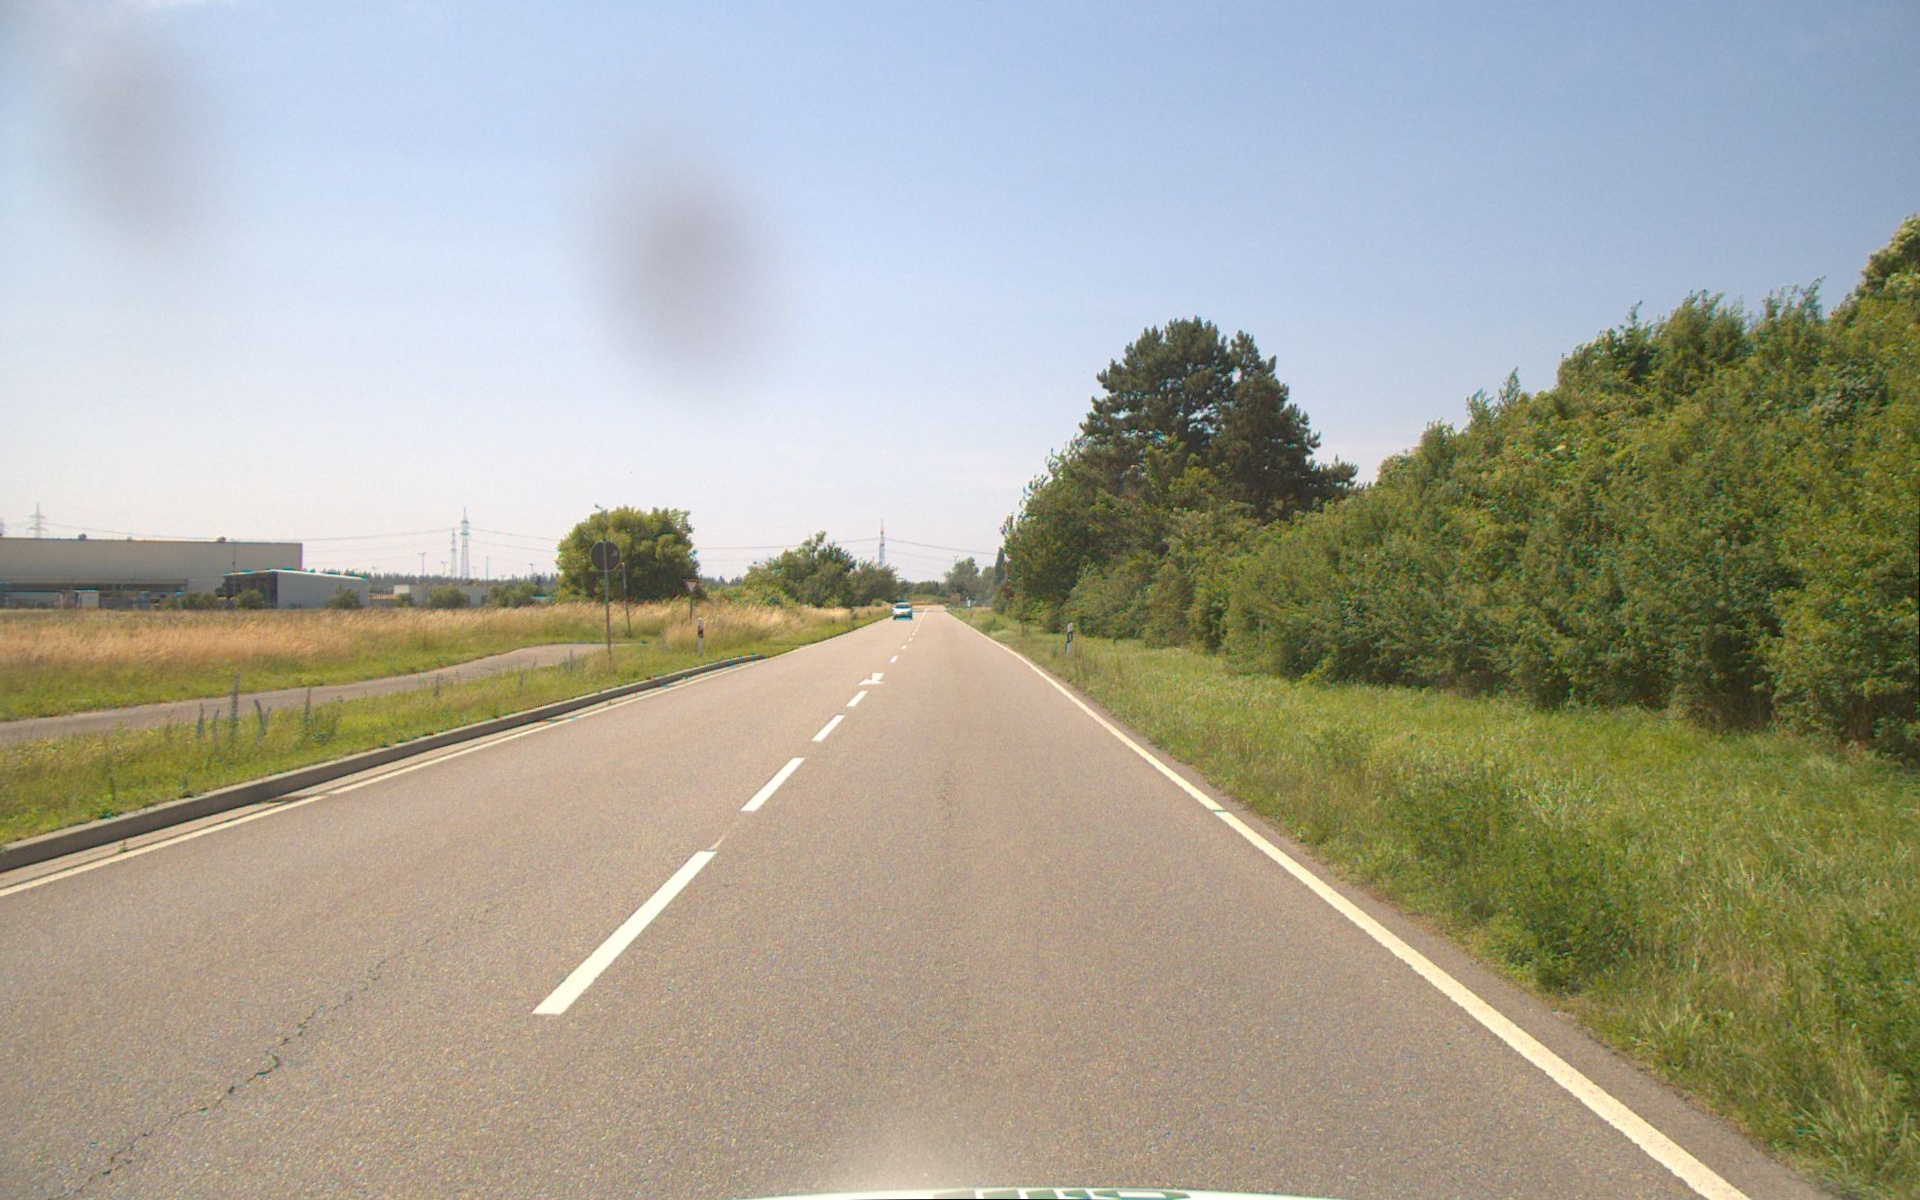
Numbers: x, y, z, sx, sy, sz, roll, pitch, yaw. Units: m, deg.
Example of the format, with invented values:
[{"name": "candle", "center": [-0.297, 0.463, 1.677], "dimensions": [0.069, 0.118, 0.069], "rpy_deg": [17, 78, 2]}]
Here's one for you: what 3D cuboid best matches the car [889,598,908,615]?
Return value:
[{"name": "car", "center": [-5.527, 0.597, 149.627], "dimensions": [1.644, 1.446, 4.421], "rpy_deg": [-2, 0, -1]}]
